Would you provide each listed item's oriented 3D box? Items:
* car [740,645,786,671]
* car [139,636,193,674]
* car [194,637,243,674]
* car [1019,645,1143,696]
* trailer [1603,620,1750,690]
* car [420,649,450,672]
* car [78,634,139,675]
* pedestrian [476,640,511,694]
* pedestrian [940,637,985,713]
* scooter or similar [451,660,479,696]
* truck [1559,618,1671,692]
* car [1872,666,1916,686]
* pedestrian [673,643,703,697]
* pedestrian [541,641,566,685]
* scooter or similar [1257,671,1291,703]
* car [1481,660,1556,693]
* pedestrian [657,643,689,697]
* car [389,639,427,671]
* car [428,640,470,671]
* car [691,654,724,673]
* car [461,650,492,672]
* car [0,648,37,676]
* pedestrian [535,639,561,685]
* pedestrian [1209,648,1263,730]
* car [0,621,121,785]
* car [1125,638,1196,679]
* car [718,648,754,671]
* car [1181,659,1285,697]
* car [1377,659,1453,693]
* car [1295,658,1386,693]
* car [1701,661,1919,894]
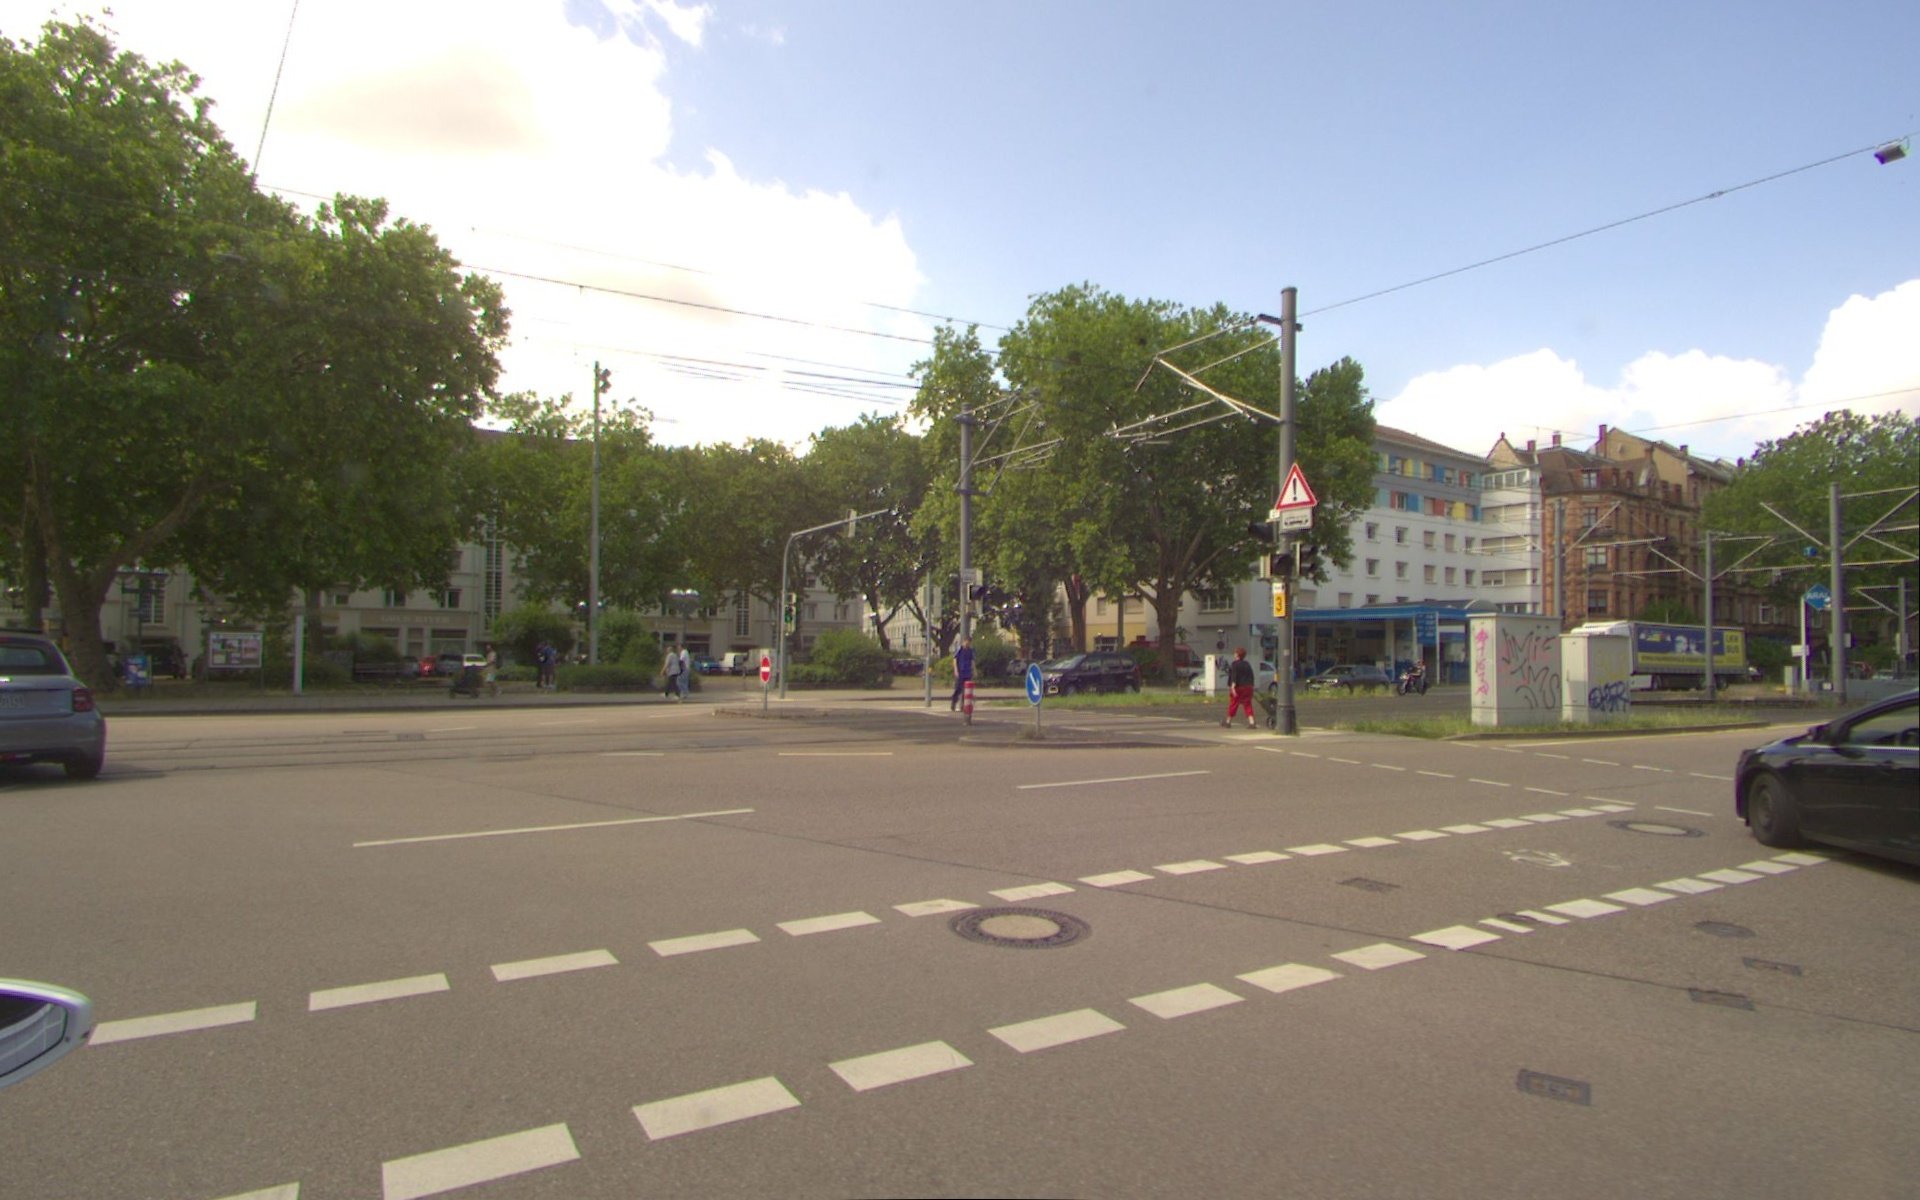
[{"bbox_3d":[-15.475,4.542,78.528,2.075,1.929,4.468,2,-4,-31],"label":"car"},{"bbox_3d":[-45.865,3.217,57.908,1.974,2.101,3.978,2,-4,-33],"label":"car"},{"bbox_3d":[-43.638,3.288,58.970,1.974,2.101,3.978,2,-4,-33],"label":"car"},{"bbox_3d":[4.444,2.571,36.558,4.360,1.748,1.844,3,-3,-32],"label":"car"},{"bbox_3d":[45.297,3.503,63.124,11.483,4.128,2.905,2,-3,-29],"label":"trailer"},{"bbox_3d":[-39.400,4.561,75.138,1.720,1.657,3.980,2,-4,-31],"label":"car"},{"bbox_3d":[-47.757,3.065,56.272,1.974,2.209,4.234,2,-4,-33],"label":"car"},{"bbox_3d":[-14.630,2.110,31.404,0.910,1.666,0.567,2,-3,-32],"label":"pedestrian"},{"bbox_3d":[0.061,1.756,23.678,0.734,1.753,0.767,2,-3,-34],"label":"pedestrian"},{"bbox_3d":[-15.313,2.408,30.958,0.699,1.069,0.488,2,-3,-32],"label":"scooter or similar"},{"bbox_3d":[38.968,3.285,59.522,6.497,4.200,2.904,2,-3,-30],"label":"truck"},{"bbox_3d":[78.677,6.387,84.362,3.947,1.651,1.793,2,-3,-33],"label":"car"},{"bbox_3d":[-9.138,2.346,33.635,0.683,1.786,0.667,-1,-2,33],"label":"pedestrian"},{"bbox_3d":[-16.343,2.522,40.249,0.597,1.772,0.695,-1,-3,33],"label":"pedestrian"},{"bbox_3d":[5.786,1.598,18.465,0.516,0.542,0.308,1,-2,45],"label":"scooter or similar"},{"bbox_3d":[30.147,4.107,54.035,4.080,1.726,1.844,3,-3,-33],"label":"car"},{"bbox_3d":[-9.452,2.286,32.965,0.683,1.744,0.716,-1,-3,33],"label":"pedestrian"},{"bbox_3d":[-36.101,3.611,65.440,1.973,2.038,3.979,2,-4,-32],"label":"car"},{"bbox_3d":[-33.963,3.694,66.483,1.975,2.038,3.975,2,-4,-35],"label":"car"},{"bbox_3d":[-21.928,5.510,86.929,1.720,1.657,3.980,2,-4,-31],"label":"car"},{"bbox_3d":[-37.013,4.658,76.639,1.720,1.657,3.980,2,-4,-31],"label":"car"},{"bbox_3d":[-48.454,3.196,51.441,1.455,1.406,3.040,3,-4,-42],"label":"car"},{"bbox_3d":[-15.897,2.391,38.621,0.597,1.772,0.695,-1,-3,33],"label":"pedestrian"},{"bbox_3d":[5.207,1.664,18.915,0.768,1.510,0.652,-2,-3,44],"label":"pedestrian"},{"bbox_3d":[-10.512,1.000,10.529,3.420,1.557,1.688,-1,-3,34],"label":"car"},{"bbox_3d":[12.400,3.592,61.929,3.947,2.450,2.101,2,-3,-33],"label":"car"},{"bbox_3d":[-19.806,5.273,88.403,1.973,1.988,3.980,2,-4,-31],"label":"car"},{"bbox_3d":[11.185,3.166,40.893,4.271,1.484,1.724,3,-3,-33],"label":"car"},{"bbox_3d":[21.951,3.653,48.284,3.704,1.582,1.676,3,-3,-33],"label":"car"},{"bbox_3d":[17.032,3.337,44.782,3.920,1.464,1.844,2,-3,-32],"label":"car"},{"bbox_3d":[7.390,1.245,6.830,1.750,1.553,4.389,2,-3,6],"label":"car"}]
